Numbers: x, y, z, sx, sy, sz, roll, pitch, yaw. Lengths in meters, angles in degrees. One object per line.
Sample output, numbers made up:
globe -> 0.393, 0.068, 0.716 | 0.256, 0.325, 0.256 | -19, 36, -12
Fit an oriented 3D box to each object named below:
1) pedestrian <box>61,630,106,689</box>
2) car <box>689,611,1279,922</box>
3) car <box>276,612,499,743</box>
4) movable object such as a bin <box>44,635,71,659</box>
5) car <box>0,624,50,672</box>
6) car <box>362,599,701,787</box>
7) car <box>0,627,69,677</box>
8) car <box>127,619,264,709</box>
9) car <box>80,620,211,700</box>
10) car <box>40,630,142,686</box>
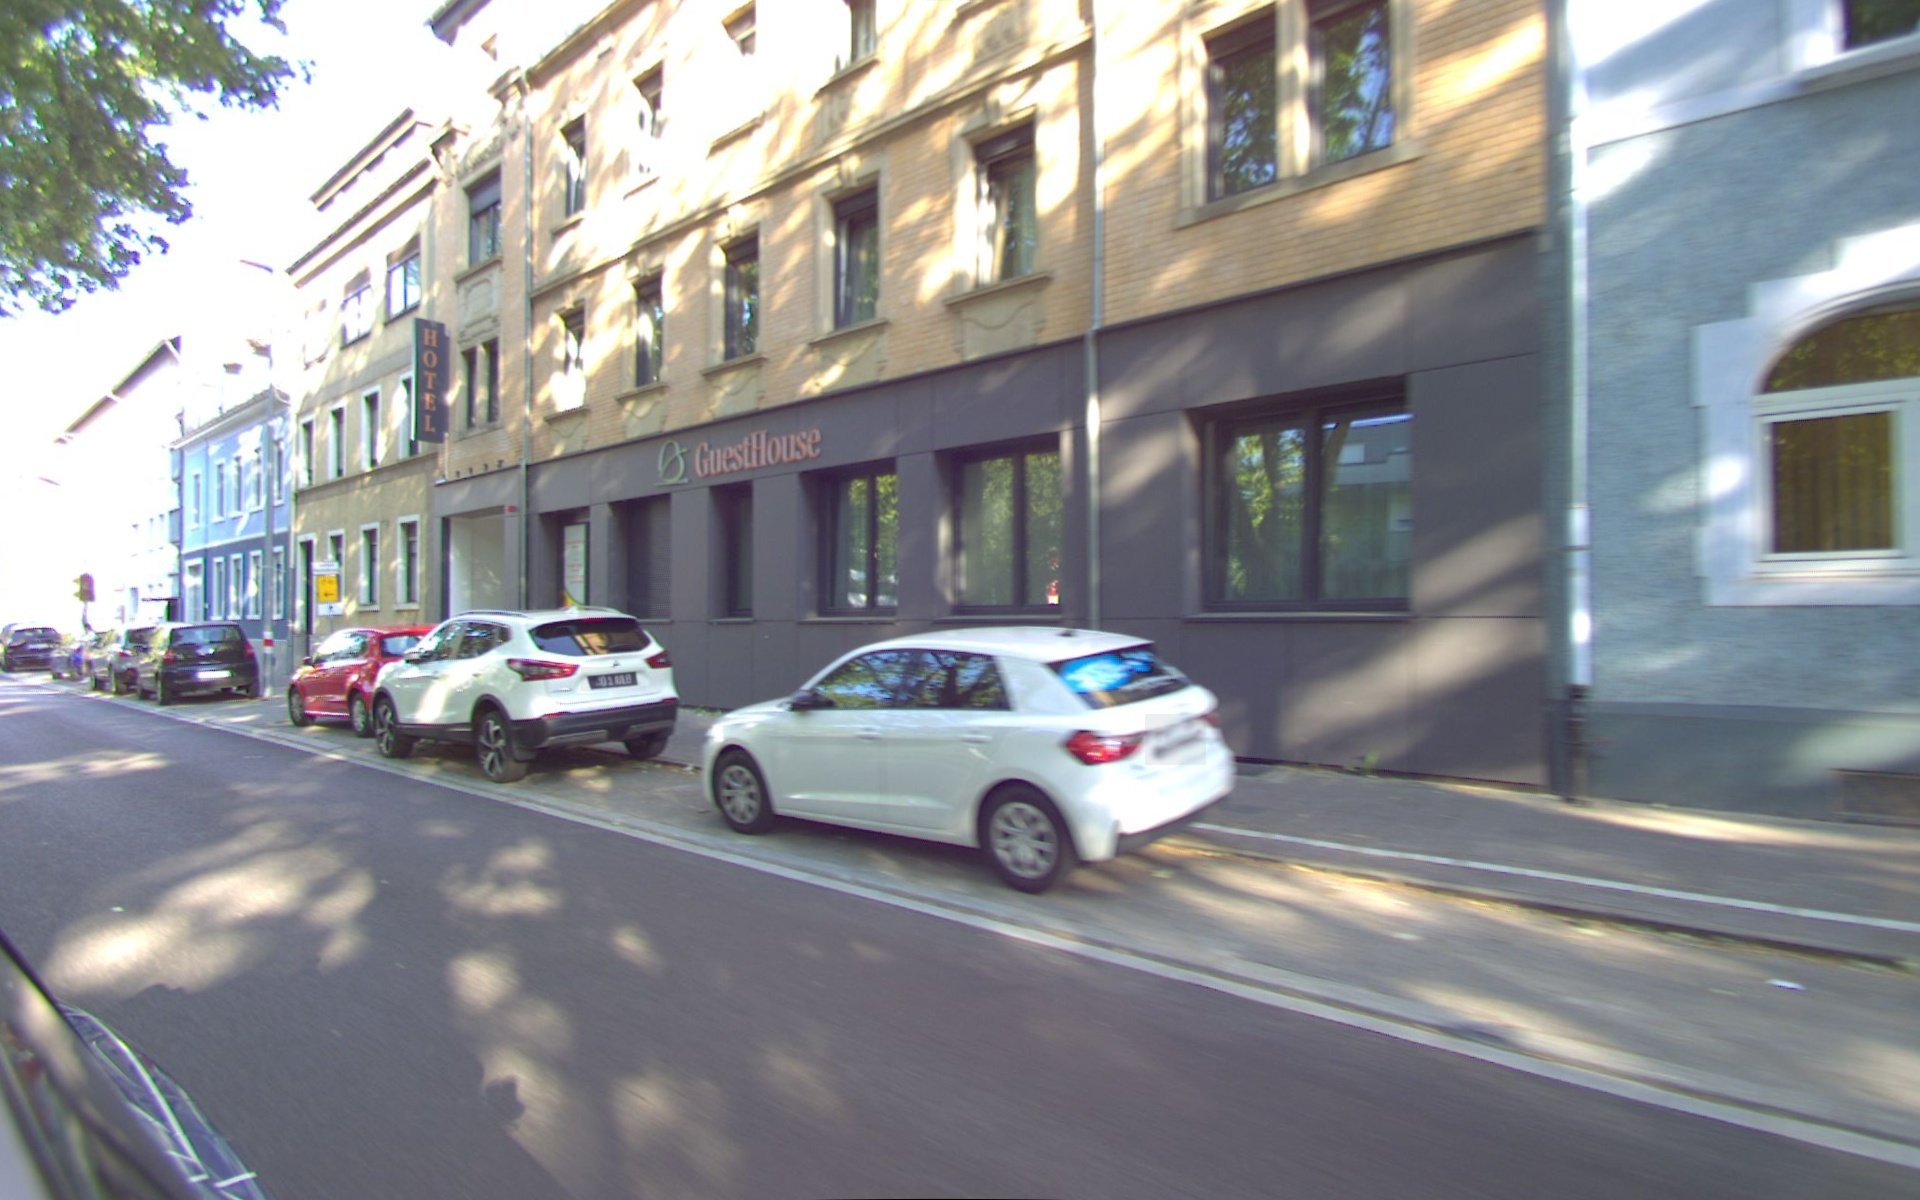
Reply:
pedestrian -> -23.975, 1.608, 27.682 | 0.853, 1.582, 0.706 | 2, -3, -44
car -> -0.033, 0.874, 6.927 | 3.870, 1.507, 1.660 | -2, -1, 42
car -> -8.301, 1.024, 14.549 | 3.755, 1.604, 1.660 | -2, -1, 42
movable object such as a bin -> -49.607, 2.580, 55.636 | 1.018, 1.296, 1.064 | 2, -3, -38
car -> -37.927, 1.900, 40.686 | 4.004, 1.832, 1.646 | -2, -1, 43
car -> -4.664, 0.845, 10.706 | 4.198, 1.597, 1.660 | -2, -1, 42
car -> -33.891, 1.848, 36.838 | 4.494, 1.685, 1.884 | -2, -1, 45
car -> -15.685, 1.243, 20.692 | 3.706, 1.617, 1.659 | -2, -1, 44
car -> -19.360, 1.362, 23.990 | 4.154, 1.685, 1.763 | -2, -1, 42
car -> -26.109, 1.693, 30.355 | 4.259, 1.498, 1.633 | -2, -1, 40
